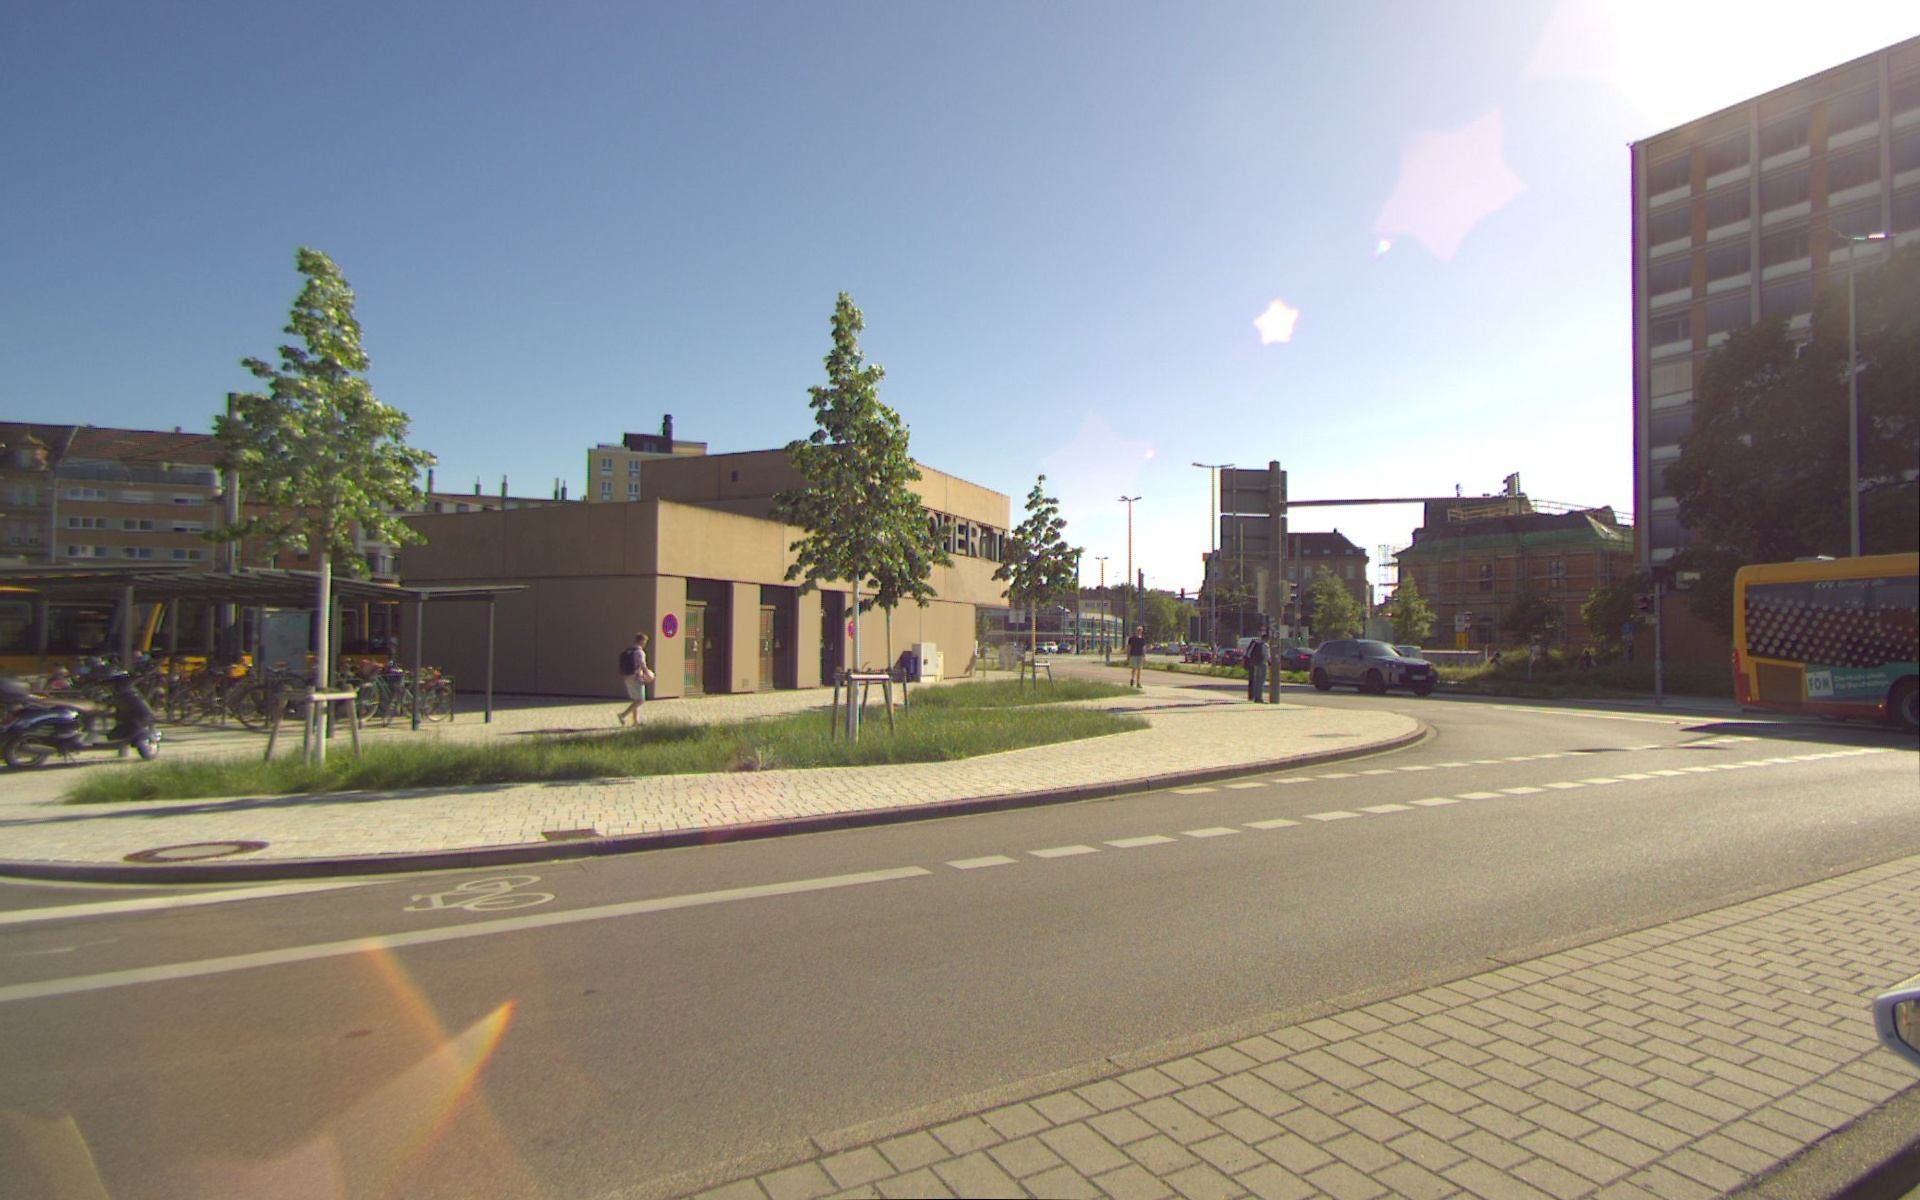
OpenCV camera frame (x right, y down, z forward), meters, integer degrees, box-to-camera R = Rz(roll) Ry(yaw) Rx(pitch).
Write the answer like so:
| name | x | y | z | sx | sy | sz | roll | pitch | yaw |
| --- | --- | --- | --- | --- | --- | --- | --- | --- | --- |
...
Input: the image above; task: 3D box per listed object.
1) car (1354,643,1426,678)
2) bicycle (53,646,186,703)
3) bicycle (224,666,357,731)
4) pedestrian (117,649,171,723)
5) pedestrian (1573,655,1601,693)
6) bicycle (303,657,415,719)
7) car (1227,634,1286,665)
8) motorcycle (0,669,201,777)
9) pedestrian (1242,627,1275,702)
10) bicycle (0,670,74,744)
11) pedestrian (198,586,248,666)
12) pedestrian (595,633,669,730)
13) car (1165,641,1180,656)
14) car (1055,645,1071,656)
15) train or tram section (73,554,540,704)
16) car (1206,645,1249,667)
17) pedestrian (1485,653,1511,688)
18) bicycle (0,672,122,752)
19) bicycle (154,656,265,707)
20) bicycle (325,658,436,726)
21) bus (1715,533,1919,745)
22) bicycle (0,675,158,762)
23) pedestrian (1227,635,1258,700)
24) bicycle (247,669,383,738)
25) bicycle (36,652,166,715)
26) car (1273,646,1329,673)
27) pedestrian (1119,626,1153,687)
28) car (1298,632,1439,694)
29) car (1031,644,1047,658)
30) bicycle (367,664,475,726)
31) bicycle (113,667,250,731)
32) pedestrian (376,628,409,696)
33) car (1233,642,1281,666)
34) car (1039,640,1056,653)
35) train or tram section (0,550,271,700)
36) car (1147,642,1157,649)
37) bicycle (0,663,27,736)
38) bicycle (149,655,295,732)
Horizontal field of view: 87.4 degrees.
| name | x | y | z | sx | sy | sz | roll | pitch | yaw |
| --- | --- | --- | --- | --- | --- | --- | --- | --- | --- |
| car | 26.583 | 3.732 | 62.316 | 2.032 | 2.040 | 5.014 | 1 | -2 | -4 |
| bicycle | -15.991 | 1.394 | 19.167 | 0.617 | 1.021 | 1.828 | 0 | -2 | 27 |
| bicycle | -11.614 | 1.683 | 17.501 | 0.492 | 1.010 | 1.887 | 0 | -2 | 31 |
| pedestrian | -19.131 | 2.002 | 23.562 | 0.593 | 1.681 | 0.772 | 0 | -2 | 23 |
| pedestrian | 34.300 | 4.036 | 54.934 | 0.996 | 2.040 | 0.825 | 1 | -2 | -6 |
| bicycle | -11.744 | 1.690 | 19.689 | 0.617 | 1.107 | 1.829 | 0 | -2 | 25 |
| car | 26.498 | 4.390 | 90.078 | 2.954 | 2.580 | 6.957 | 1 | -2 | -3 |
| motorcycle | -10.919 | 1.481 | 12.476 | 0.599 | 1.173 | 2.360 | 0 | -2 | 25 |
| pedestrian | 7.619 | 1.631 | 25.632 | 0.594 | 1.880 | 0.681 | 1 | -2 | -7 |
| bicycle | -14.103 | 1.552 | 14.513 | 0.617 | 1.021 | 1.829 | 0 | -2 | 25 |
| pedestrian | -17.542 | 0.623 | 23.927 | 0.738 | 1.880 | 0.709 | 1 | -2 | -19 |
| pedestrian | -6.083 | 1.486 | 18.634 | 0.827 | 1.727 | 1.019 | -1 | -2 | 42 |
| car | 30.187 | 6.878 | 142.798 | 2.024 | 2.040 | 4.003 | 2 | 0 | 12 |
| car | 14.189 | 6.951 | 137.877 | 1.960 | 1.407 | 4.002 | 0 | -3 | 3 |
| train or tram section | -18.756 | 0.923 | 30.627 | 2.702 | 3.648 | 12.318 | 0 | -2 | 25 |
| car | 20.060 | 4.214 | 75.502 | 1.962 | 1.538 | 3.818 | 1 | -2 | -4 |
| pedestrian | 31.517 | 4.140 | 58.869 | 0.985 | 2.040 | 0.862 | 1 | -2 | -8 |
| bicycle | -13.120 | 1.560 | 14.073 | 0.617 | 1.021 | 2.026 | 0 | -2 | 25 |
| bicycle | -16.256 | 1.736 | 21.805 | 0.617 | 1.021 | 1.829 | 0 | -2 | 25 |
| bicycle | -10.741 | 1.679 | 18.684 | 0.616 | 1.161 | 1.831 | 0 | -2 | 18 |
| bus | 18.601 | 0.611 | 14.993 | 3.196 | 3.617 | 12.428 | 1 | -2 | -15 |
| bicycle | -12.037 | 1.561 | 13.521 | 0.617 | 1.021 | 1.829 | 0 | -2 | 25 |
| pedestrian | 7.602 | 1.801 | 27.046 | 0.594 | 1.719 | 0.634 | 1 | -2 | -7 |
| bicycle | -10.671 | 1.681 | 16.684 | 0.617 | 1.021 | 1.828 | 0 | -2 | 27 |
| bicycle | -16.909 | 1.613 | 19.830 | 0.617 | 1.146 | 1.828 | 0 | -2 | 27 |
| car | 20.885 | 3.625 | 61.688 | 1.962 | 1.538 | 3.818 | 1 | -2 | -4 |
| pedestrian | 5.510 | 1.755 | 31.411 | 0.826 | 1.869 | 0.866 | 1 | -2 | -7 |
| car | 13.403 | 2.027 | 33.319 | 1.971 | 1.885 | 4.730 | 1 | -2 | -14 |
| car | 10.638 | 6.913 | 136.262 | 1.960 | 1.814 | 4.002 | 0 | -2 | 2 |
| bicycle | -9.821 | 1.712 | 18.384 | 0.616 | 1.021 | 1.832 | 0 | -2 | 16 |
| bicycle | -13.863 | 1.744 | 17.938 | 0.617 | 1.021 | 1.828 | 0 | -2 | 27 |
| pedestrian | -15.845 | 1.731 | 28.068 | 0.671 | 1.880 | 0.602 | 1 | -2 | -19 |
| car | 20.305 | 3.696 | 68.796 | 1.962 | 1.538 | 3.818 | 1 | -2 | -4 |
| car | 12.587 | 6.644 | 144.285 | 1.865 | 1.728 | 4.003 | 0 | -2 | 12 |
| train or tram section | -24.637 | 0.626 | 25.274 | 2.779 | 3.648 | 12.320 | 0 | -2 | 24 |
| car | 45.348 | 10.715 | 237.222 | 1.960 | 1.695 | 4.003 | 0 | -2 | 15 |
| bicycle | -15.271 | 1.518 | 15.012 | 0.617 | 1.094 | 1.829 | 0 | -2 | 25 |
| bicycle | -12.887 | 1.602 | 17.630 | 0.496 | 1.225 | 2.051 | 0 | -2 | 26 |
